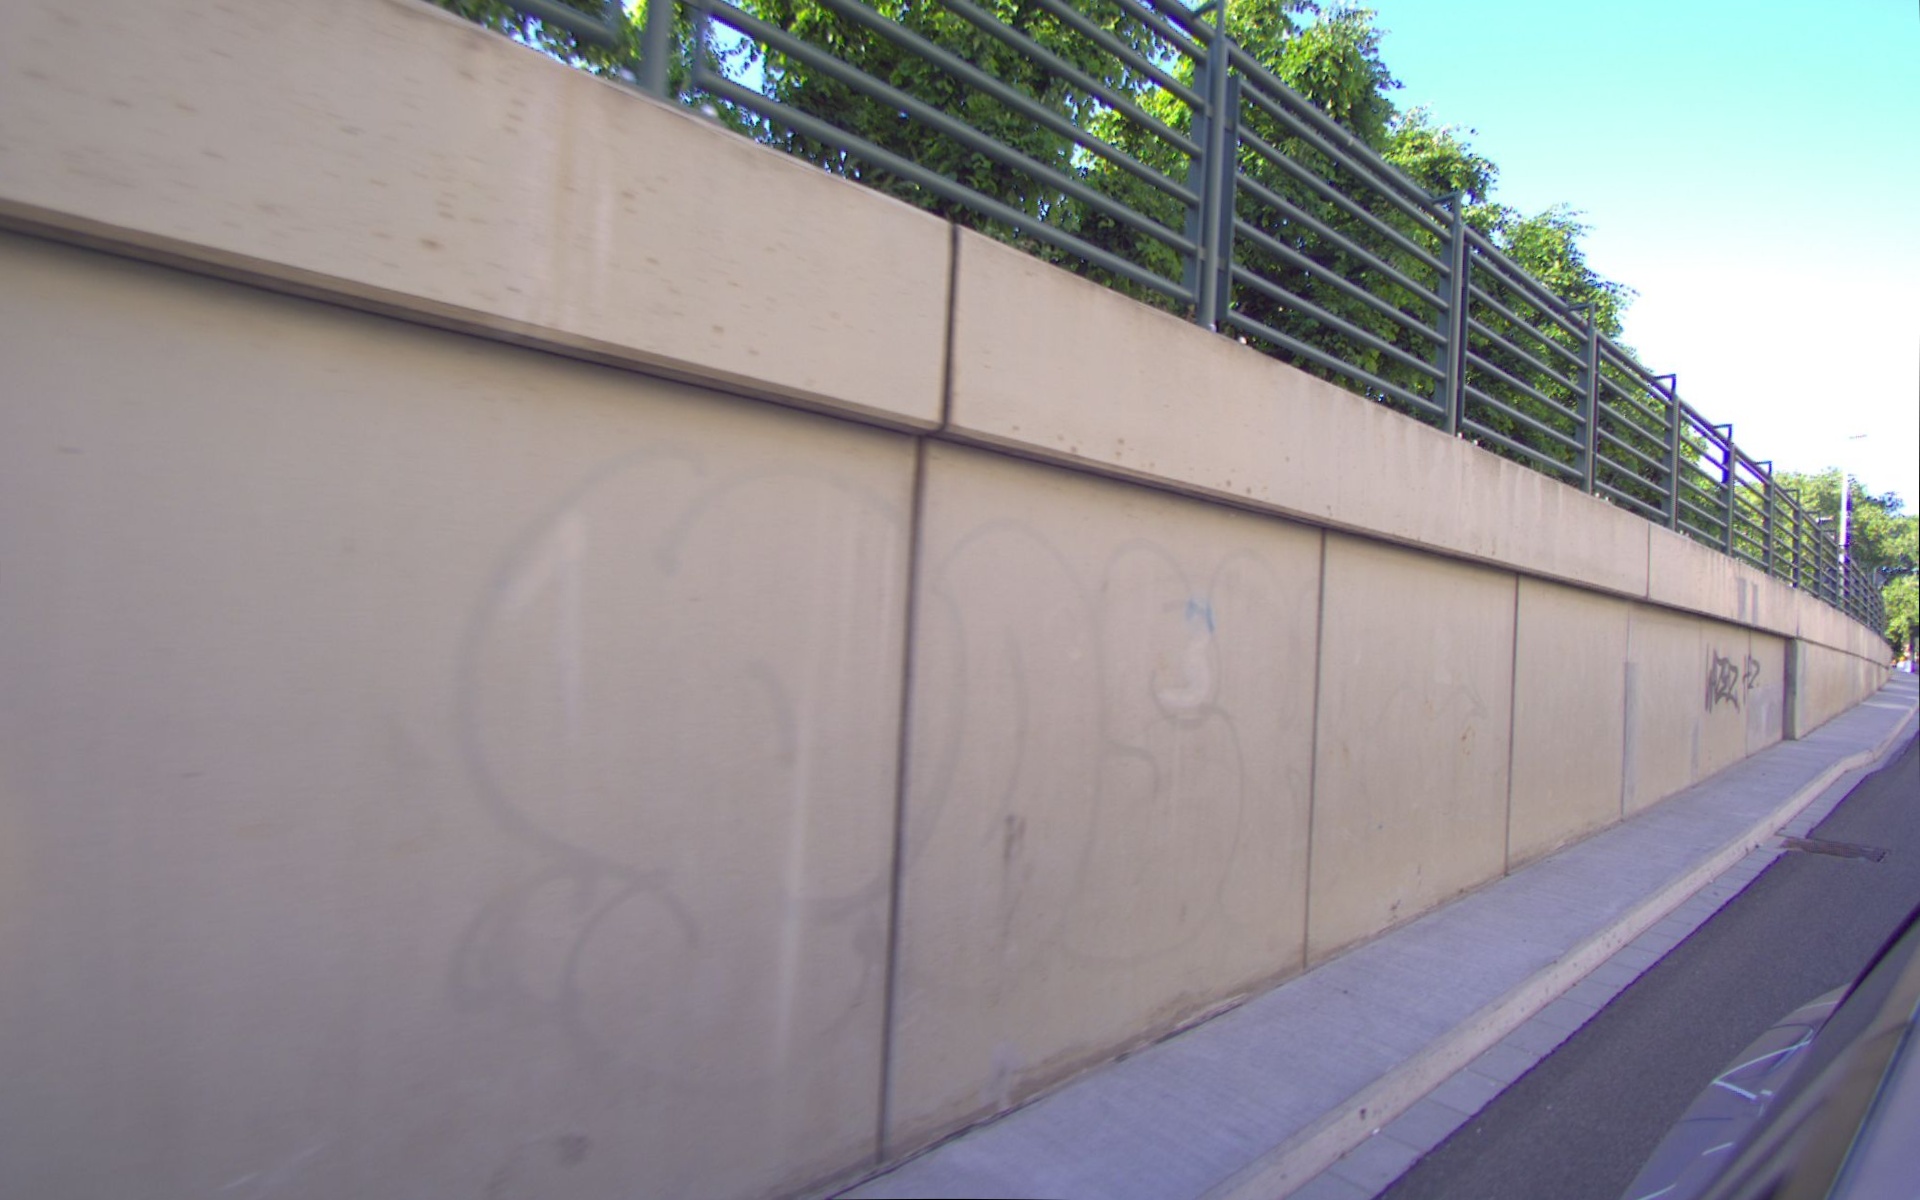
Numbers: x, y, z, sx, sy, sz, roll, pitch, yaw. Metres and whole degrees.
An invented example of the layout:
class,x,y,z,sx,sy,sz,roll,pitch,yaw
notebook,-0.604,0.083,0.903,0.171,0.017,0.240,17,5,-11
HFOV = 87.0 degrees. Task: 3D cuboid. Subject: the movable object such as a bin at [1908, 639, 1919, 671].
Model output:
class,x,y,z,sx,sy,sz,roll,pitch,yaw
movable object such as a bin,64.689,3.703,66.336,3.213,2.103,2.090,3,-1,27
